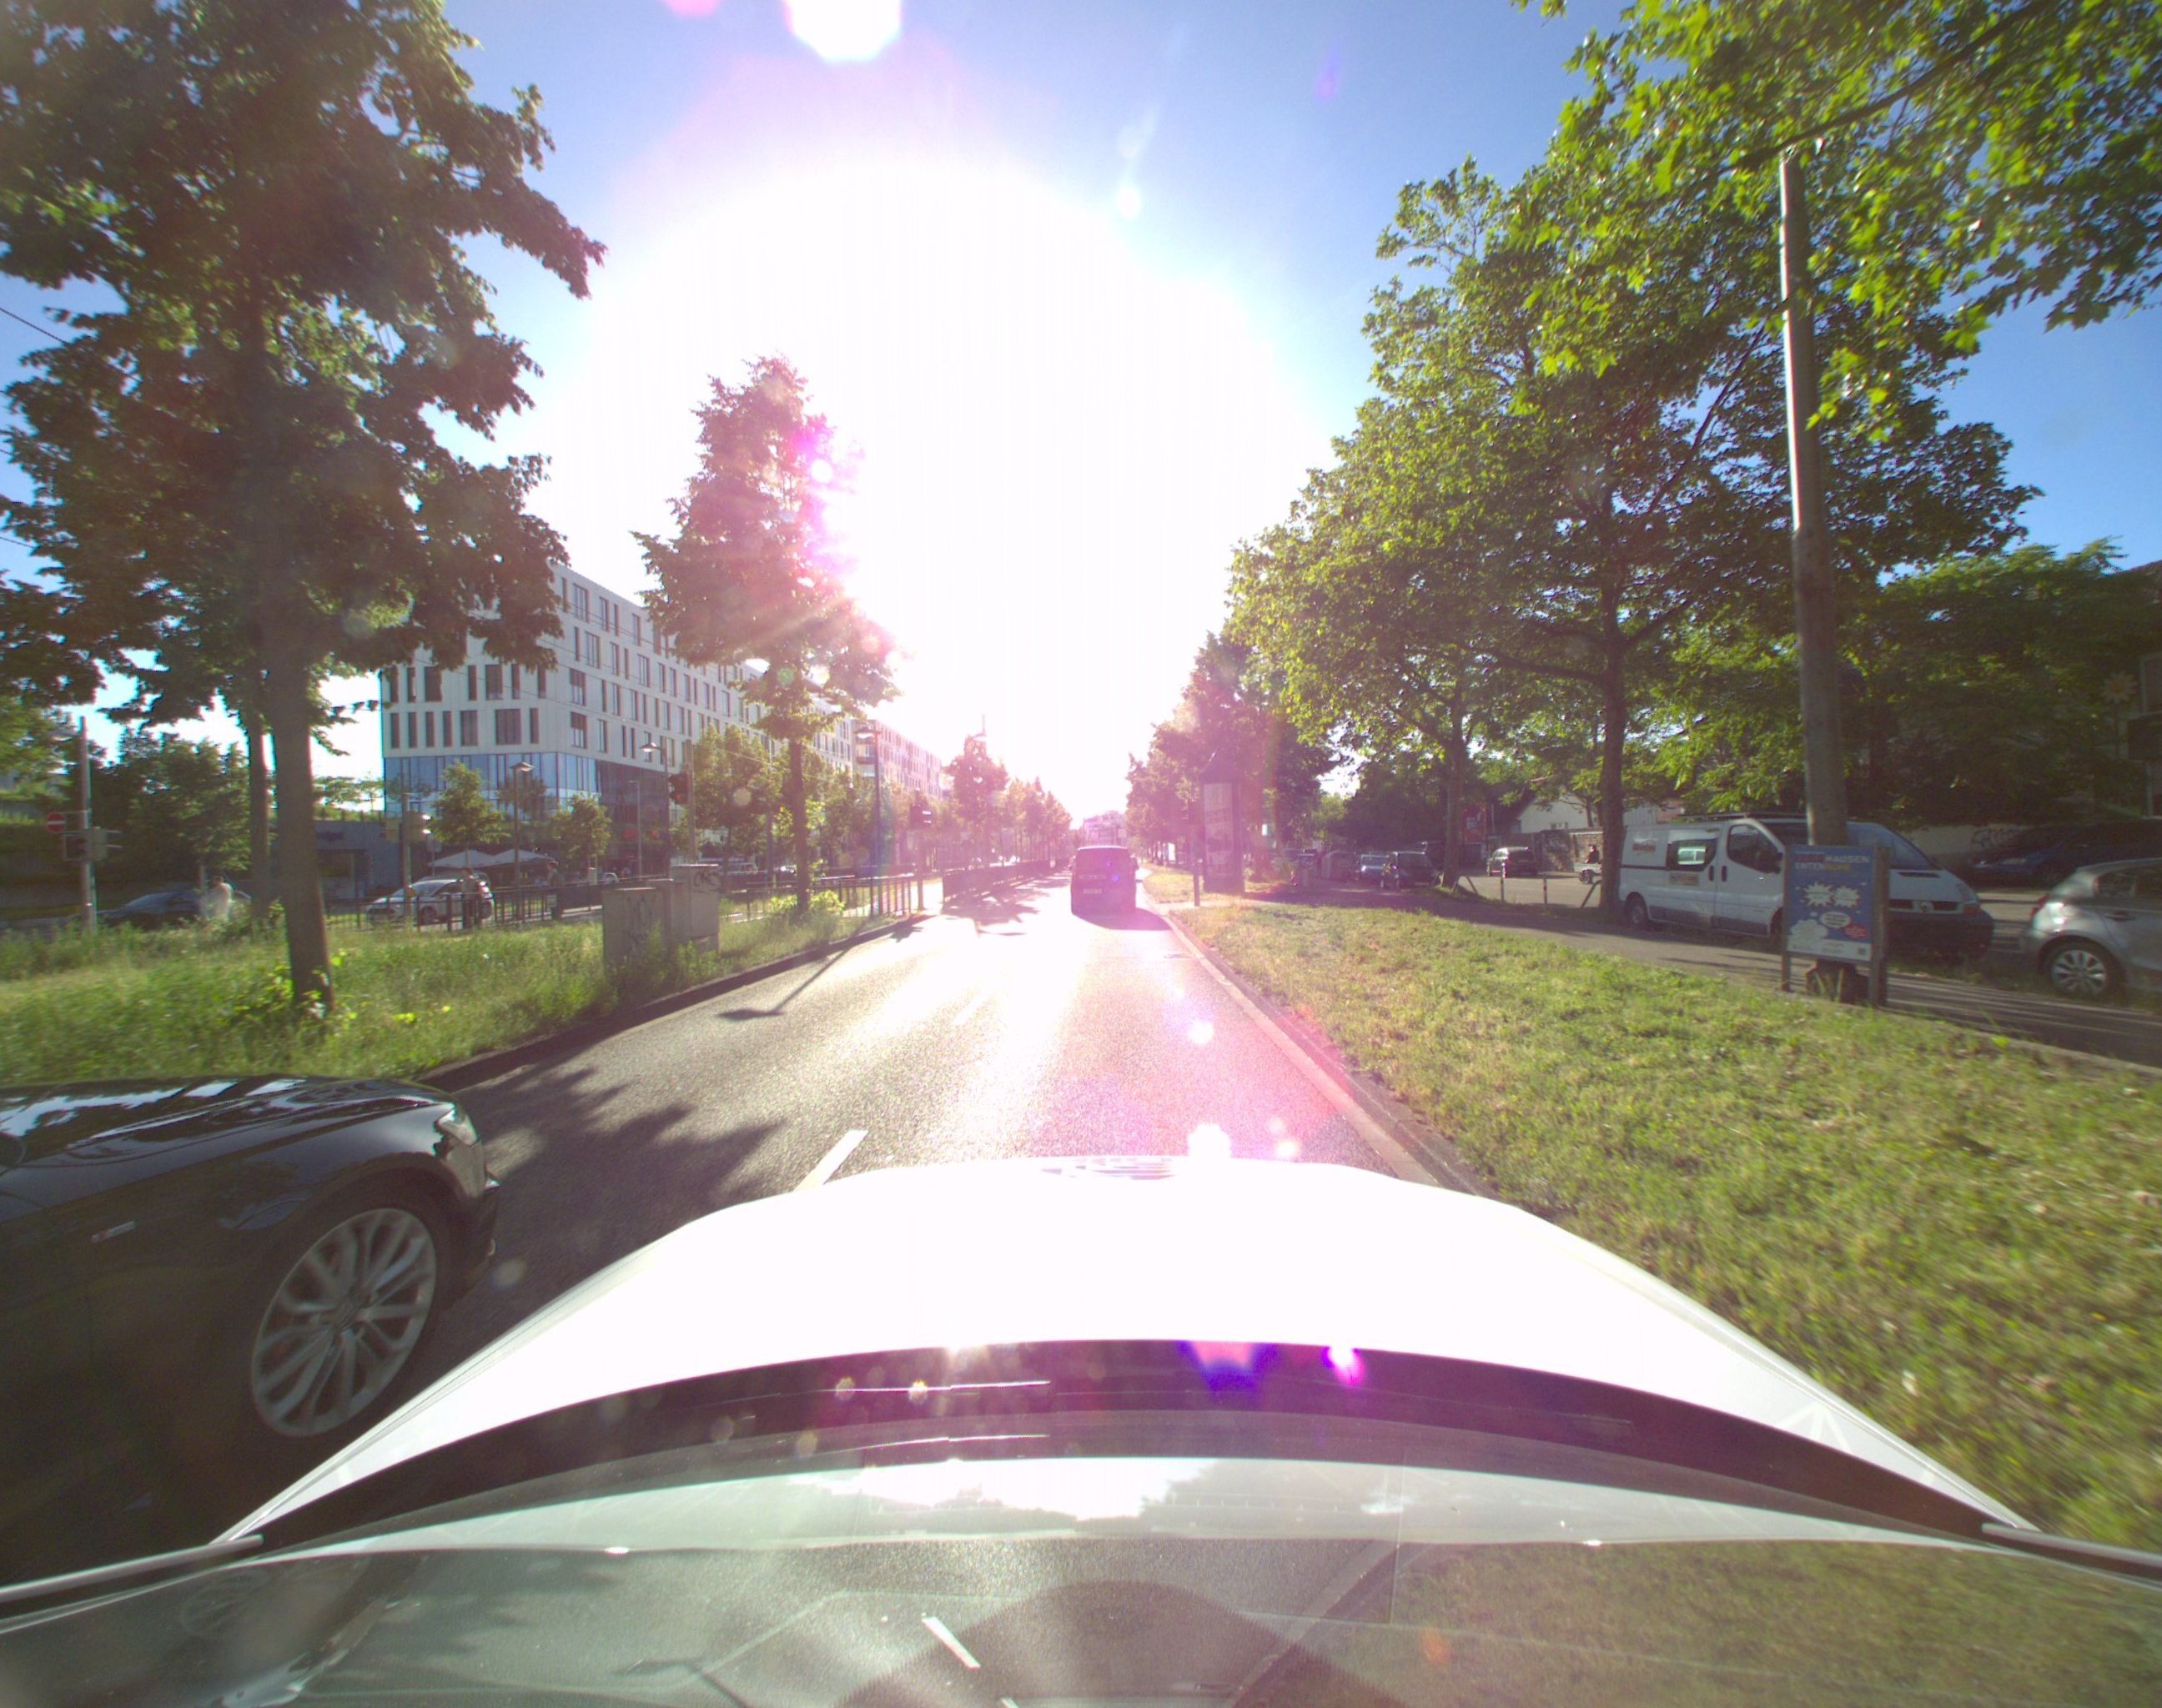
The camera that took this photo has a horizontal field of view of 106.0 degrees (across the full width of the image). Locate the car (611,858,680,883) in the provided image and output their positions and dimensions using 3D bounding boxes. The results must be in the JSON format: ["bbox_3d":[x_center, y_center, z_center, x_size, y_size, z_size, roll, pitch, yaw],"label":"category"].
[{"bbox_3d":[-29.353,1.086,55.127,1.985,1.672,4.614,0,-1,3],"label":"car"}]

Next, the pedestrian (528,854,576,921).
[{"bbox_3d":[-14.734,0.931,22.701,0.818,1.836,0.726,0,-1,-1],"label":"pedestrian"}]

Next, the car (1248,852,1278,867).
[{"bbox_3d":[16.162,0.495,72.390,1.864,1.367,4.001,0,-1,2],"label":"car"}]

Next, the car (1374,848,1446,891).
[{"bbox_3d":[12.091,0.565,30.115,1.654,1.500,2.993,0,-1,4],"label":"car"}]

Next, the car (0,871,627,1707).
[{"bbox_3d":[-2.878,0.816,0.696,1.945,1.480,5.088,0,0,2],"label":"car"}]

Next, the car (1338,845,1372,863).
[{"bbox_3d":[25.915,0.009,77.196,1.863,1.546,4.694,-3,-1,3],"label":"car"}]

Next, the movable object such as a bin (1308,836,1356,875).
[{"bbox_3d":[13.270,0.072,43.160,2.071,2.014,2.139,0,-1,6],"label":"movable object such as a bin"}]

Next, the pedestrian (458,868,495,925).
[{"bbox_3d":[-16.414,1.143,22.123,0.540,1.497,0.604,0,-1,5],"label":"pedestrian"}]

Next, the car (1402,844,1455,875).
[{"bbox_3d":[24.082,0.395,56.628,1.863,2.002,4.694,-3,-1,3],"label":"car"}]

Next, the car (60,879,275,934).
[{"bbox_3d":[-30.478,1.690,27.436,1.871,1.621,4.614,0,-1,3],"label":"car"}]

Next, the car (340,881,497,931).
[{"bbox_3d":[-22.131,1.686,27.431,1.987,1.486,3.999,0,-1,0],"label":"car"}]

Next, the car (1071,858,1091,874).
[{"bbox_3d":[-0.006,1.235,86.477,1.986,1.618,4.002,0,-1,2],"label":"car"}]

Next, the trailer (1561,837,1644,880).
[{"bbox_3d":[22.119,0.196,34.679,1.722,1.640,3.028,-4,-1,6],"label":"trailer"}]

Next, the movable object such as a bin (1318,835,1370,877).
[{"bbox_3d":[13.000,0.097,40.402,2.071,2.014,2.139,0,-1,6],"label":"movable object such as a bin"}]

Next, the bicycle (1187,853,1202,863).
[{"bbox_3d":[15.122,0.515,108.469,1.910,1.268,0.479,-1,0,2],"label":"bicycle"}]

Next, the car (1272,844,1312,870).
[{"bbox_3d":[15.417,0.229,59.708,1.864,1.820,4.894,0,-1,2],"label":"car"}]

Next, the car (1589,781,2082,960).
[{"bbox_3d":[10.315,0.212,12.101,2.180,2.014,5.825,0,-1,3],"label":"car"}]

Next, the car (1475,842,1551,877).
[{"bbox_3d":[22.834,0.287,43.190,1.985,1.640,4.003,-4,-1,3],"label":"car"}]

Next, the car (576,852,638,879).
[{"bbox_3d":[-37.039,0.865,63.740,1.985,2.014,4.566,0,-1,3],"label":"car"}]

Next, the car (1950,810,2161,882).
[{"bbox_3d":[26.442,-0.197,21.923,4.067,1.851,1.850,0,-1,2],"label":"car"}]

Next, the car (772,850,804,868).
[{"bbox_3d":[-34.676,0.607,96.543,1.985,2.014,4.566,0,-1,3],"label":"car"}]

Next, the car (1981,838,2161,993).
[{"bbox_3d":[9.923,0.504,6.112,1.985,1.290,4.056,0,-1,3],"label":"car"}]

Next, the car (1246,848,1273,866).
[{"bbox_3d":[16.942,0.275,77.472,1.864,1.684,4.001,0,-1,2],"label":"car"}]

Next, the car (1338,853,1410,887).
[{"bbox_3d":[12.678,0.680,35.501,1.988,1.384,4.754,0,-1,8],"label":"car"}]

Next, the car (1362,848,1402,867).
[{"bbox_3d":[25.758,0.344,69.847,1.863,1.483,4.694,-3,-1,3],"label":"car"}]

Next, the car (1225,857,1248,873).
[{"bbox_3d":[17.540,1.223,92.234,1.864,1.684,4.000,-2,-1,1],"label":"car"}]

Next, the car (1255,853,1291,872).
[{"bbox_3d":[15.340,0.680,65.315,1.864,1.434,4.904,0,-1,2],"label":"car"}]

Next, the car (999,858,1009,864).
[{"bbox_3d":[-20.516,1.875,216.810,1.983,1.765,4.007,0,-1,6],"label":"car"}]

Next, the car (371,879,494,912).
[{"bbox_3d":[-30.198,1.893,38.129,1.905,1.325,4.614,0,-1,3],"label":"car"}]

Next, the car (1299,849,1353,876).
[{"bbox_3d":[14.710,0.507,49.160,1.864,1.524,5.058,0,-1,2],"label":"car"}]

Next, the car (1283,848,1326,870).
[{"bbox_3d":[14.879,0.342,54.351,1.864,1.389,4.001,0,-1,2],"label":"car"}]

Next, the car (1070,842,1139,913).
[{"bbox_3d":[0.579,0.616,23.035,1.803,1.838,3.998,0,-1,-1],"label":"car"}]

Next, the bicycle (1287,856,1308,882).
[{"bbox_3d":[8.959,0.609,33.775,0.491,1.046,1.906,0,-1,4],"label":"bicycle"}]

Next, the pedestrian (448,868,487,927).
[{"bbox_3d":[-16.126,1.126,21.414,0.547,1.518,0.589,0,-1,7],"label":"pedestrian"}]

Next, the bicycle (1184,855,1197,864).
[{"bbox_3d":[14.747,0.740,109.754,1.771,1.268,0.479,0,-1,2],"label":"bicycle"}]
